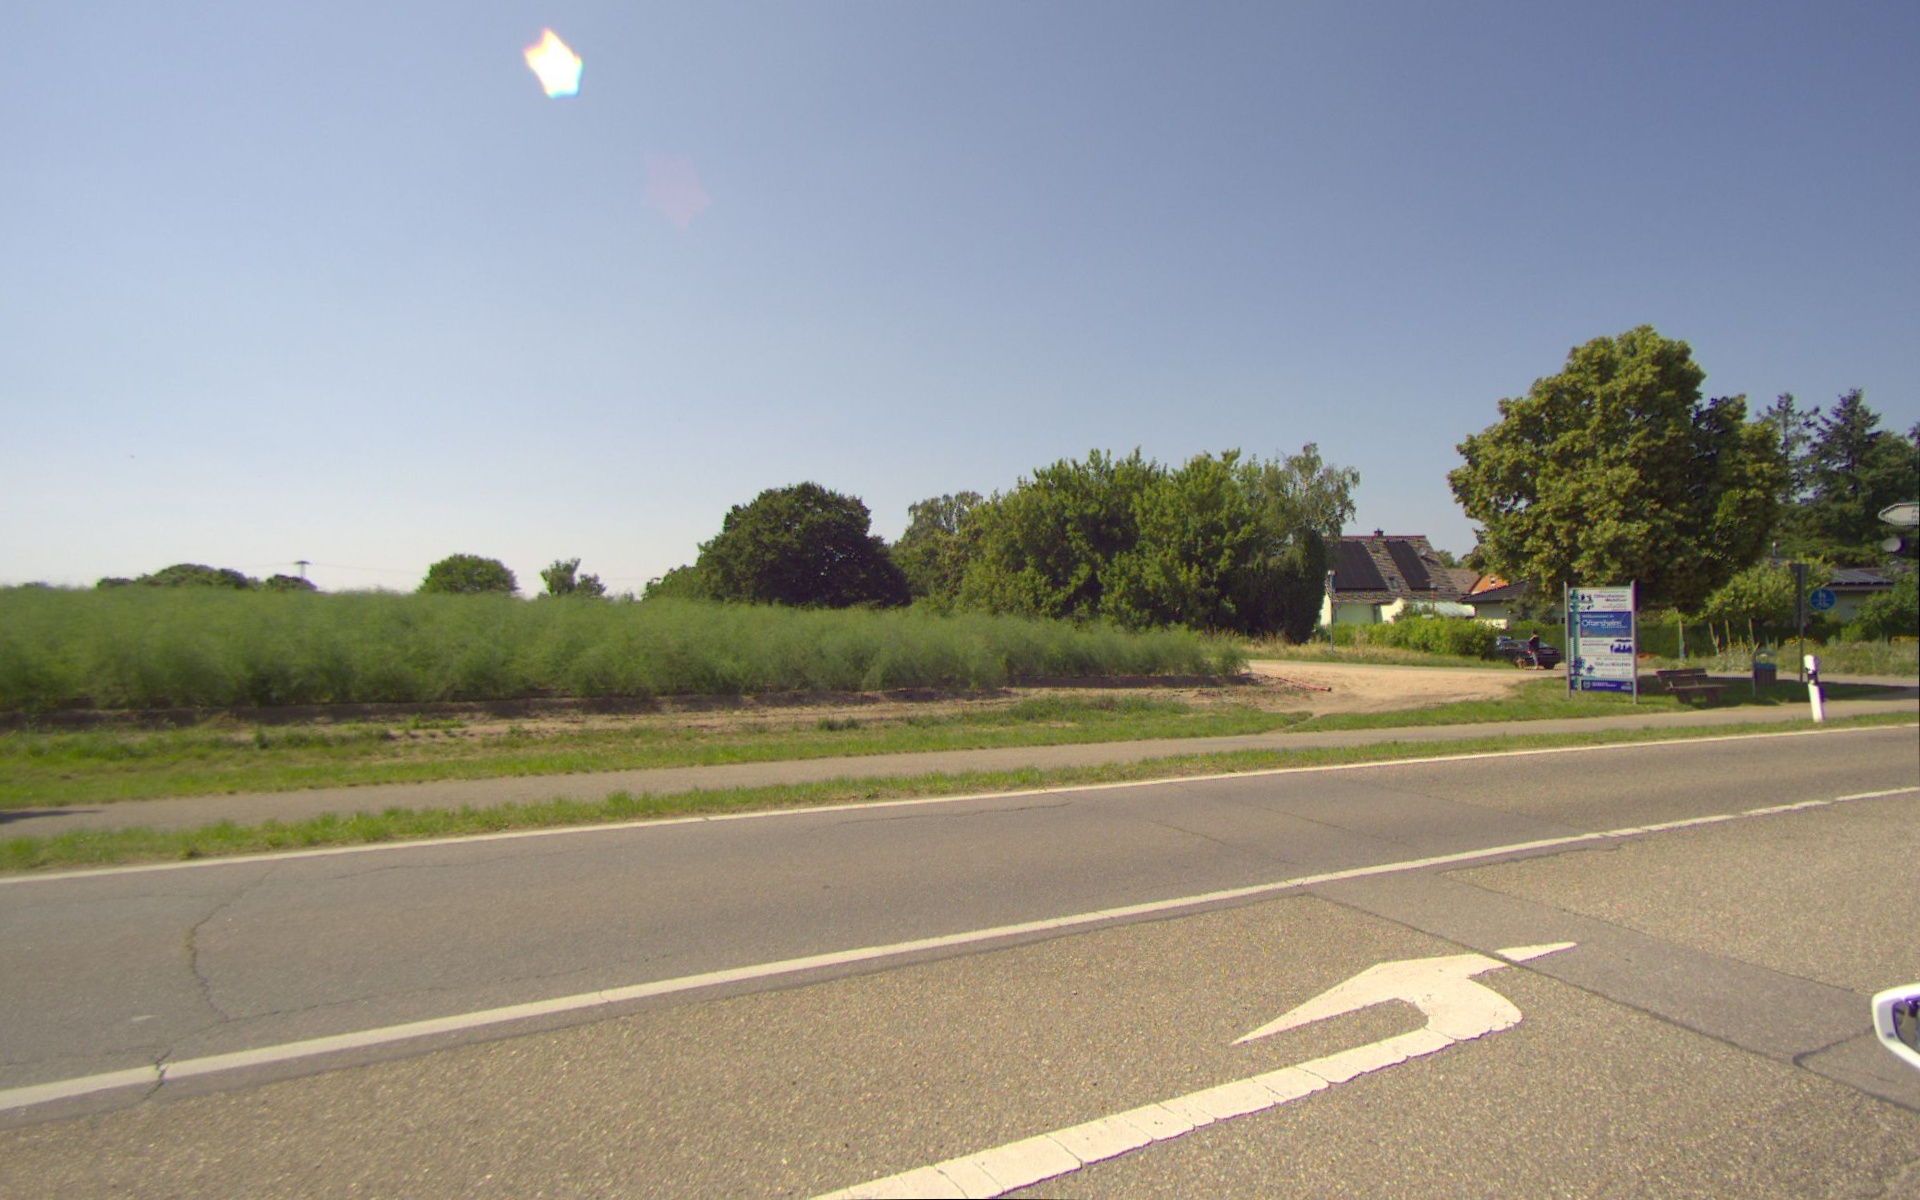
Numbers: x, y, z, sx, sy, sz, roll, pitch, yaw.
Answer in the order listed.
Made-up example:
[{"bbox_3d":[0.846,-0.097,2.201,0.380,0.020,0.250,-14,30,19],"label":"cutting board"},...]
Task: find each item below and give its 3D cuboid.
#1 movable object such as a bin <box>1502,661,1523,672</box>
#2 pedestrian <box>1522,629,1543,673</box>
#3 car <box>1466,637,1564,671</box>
[{"bbox_3d":[22.244,2.663,40.415,0.314,0.416,0.762,1,-1,-14],"label":"movable object such as a bin"},{"bbox_3d":[23.194,2.054,40.724,0.663,1.739,0.550,0,-1,23],"label":"pedestrian"},{"bbox_3d":[26.588,2.584,48.274,1.964,1.539,4.094,0,-2,-10],"label":"car"}]
